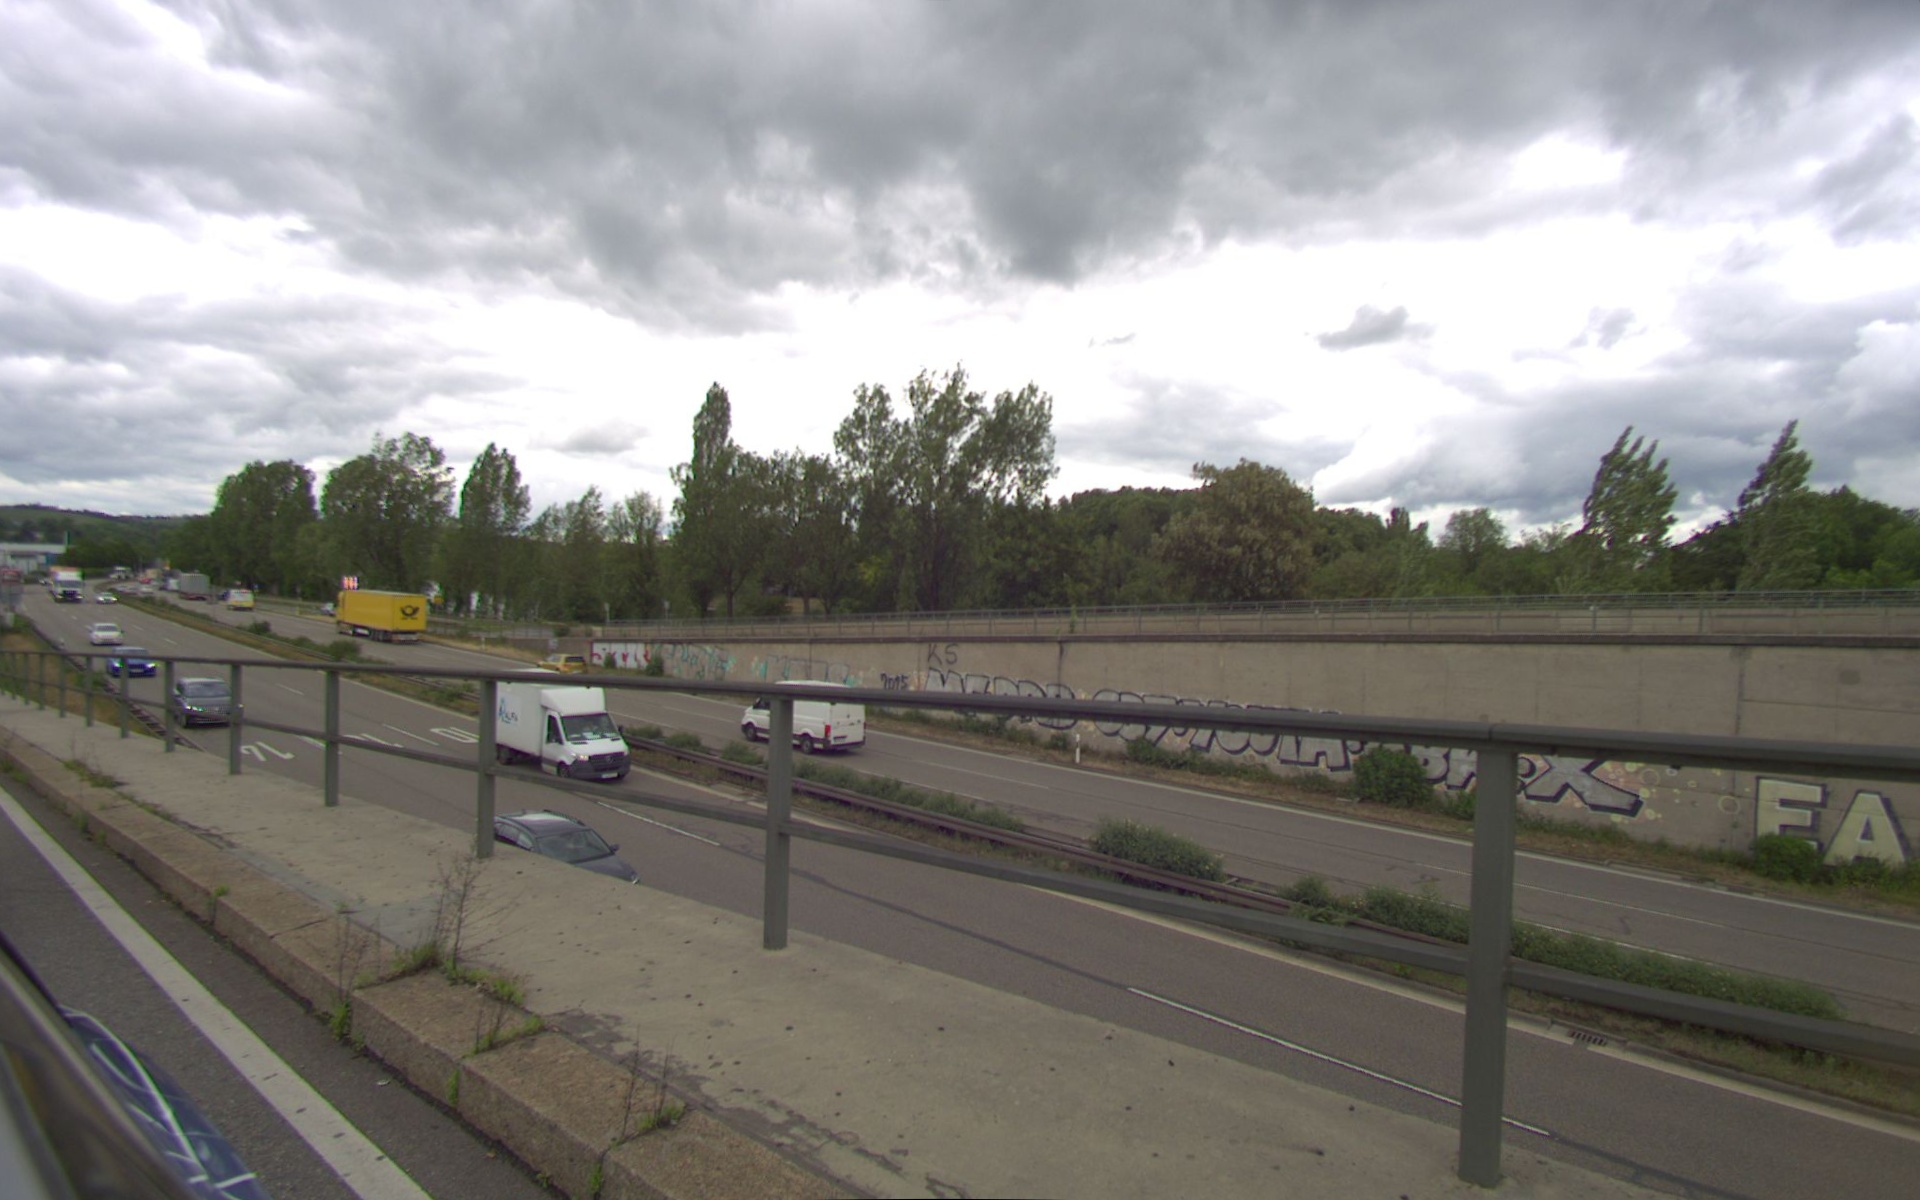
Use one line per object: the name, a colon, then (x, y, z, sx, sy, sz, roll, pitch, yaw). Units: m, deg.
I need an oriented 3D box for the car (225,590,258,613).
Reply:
car: (-91.133, 0.202, 128.351, 6.715, 2.648, 1.972, 2, -1, 43)

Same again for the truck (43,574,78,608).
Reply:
truck: (-117.950, -1.205, 132.710, 5.877, 4.140, 2.969, 2, 0, 45)

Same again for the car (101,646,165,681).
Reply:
car: (-44.279, 3.381, 54.171, 3.999, 1.544, 1.973, 2, -1, 41)

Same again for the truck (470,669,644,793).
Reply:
truck: (-13.252, 4.055, 32.925, 7.229, 3.031, 2.210, 2, 1, 41)

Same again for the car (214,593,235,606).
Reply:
car: (-120.390, -0.037, 165.675, 1.970, 1.914, 4.587, 6, -3, -44)

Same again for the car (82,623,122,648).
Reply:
car: (-60.029, 2.497, 70.786, 3.337, 1.539, 1.745, 2, 0, 43)

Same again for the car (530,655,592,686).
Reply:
car: (-24.316, 4.256, 61.614, 4.152, 1.468, 1.848, 2, 0, 41)

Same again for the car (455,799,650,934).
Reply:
car: (-7.988, 5.045, 19.671, 4.126, 1.461, 1.804, 2, 0, 41)

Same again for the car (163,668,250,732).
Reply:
car: (-29.232, 3.817, 39.238, 4.001, 2.029, 1.971, 2, -1, 43)

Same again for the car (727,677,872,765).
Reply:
car: (-6.373, 4.629, 39.633, 6.101, 2.613, 2.144, 2, 0, 42)

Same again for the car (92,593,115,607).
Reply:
car: (-113.665, 0.000, 134.324, 4.439, 1.582, 1.830, 3, 2, 43)

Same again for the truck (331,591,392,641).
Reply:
truck: (-53.416, 1.394, 90.271, 5.807, 4.213, 3.203, 2, 0, 45)

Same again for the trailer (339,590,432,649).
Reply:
trailer: (-48.695, 1.524, 85.507, 3.203, 4.294, 13.689, 2, 0, -45)

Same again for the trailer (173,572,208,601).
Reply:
trailer: (-124.025, -2.194, 163.035, 2.754, 4.170, 13.776, 1, 1, -44)

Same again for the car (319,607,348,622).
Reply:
car: (-75.716, 1.680, 122.253, 4.378, 1.664, 1.872, 1, 2, 44)

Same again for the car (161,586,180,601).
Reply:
car: (-158.004, -1.351, 202.528, 5.180, 2.669, 1.972, 2, -3, 42)

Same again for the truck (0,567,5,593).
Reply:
truck: (-157.464, -3.332, 164.497, 3.059, 4.040, 8.497, 1, 2, -45)
